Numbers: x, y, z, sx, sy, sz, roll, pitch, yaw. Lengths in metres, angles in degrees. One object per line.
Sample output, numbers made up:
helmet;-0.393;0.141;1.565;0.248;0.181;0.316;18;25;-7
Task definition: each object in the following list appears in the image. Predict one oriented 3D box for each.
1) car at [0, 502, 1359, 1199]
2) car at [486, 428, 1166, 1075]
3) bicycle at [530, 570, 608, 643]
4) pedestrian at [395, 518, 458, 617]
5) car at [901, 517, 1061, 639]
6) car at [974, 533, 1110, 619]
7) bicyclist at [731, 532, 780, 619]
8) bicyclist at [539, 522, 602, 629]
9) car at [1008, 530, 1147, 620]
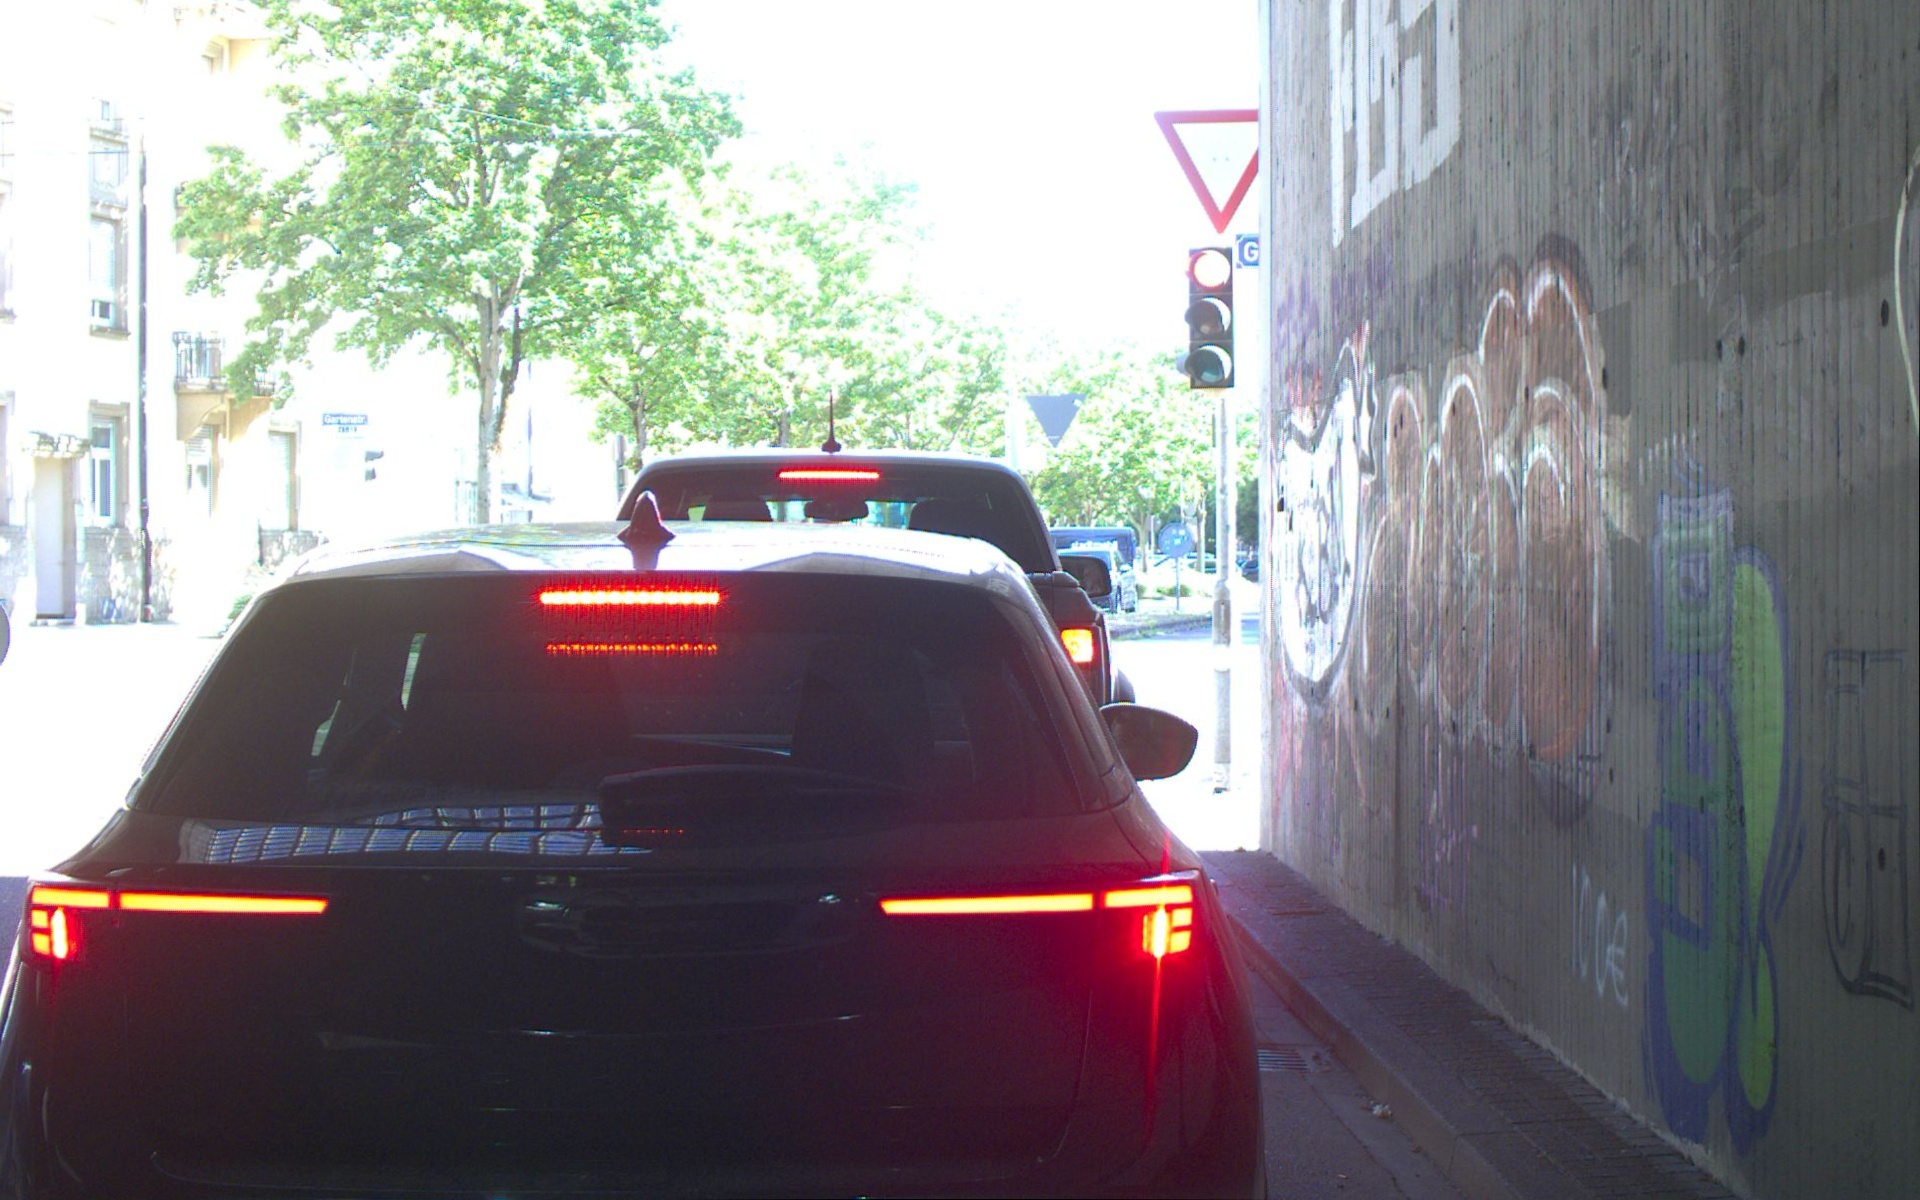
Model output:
car;-0.487;0.619;6.093;1.882;1.532;3.964;-1;1;-1
car;-0.407;0.400;11.914;1.945;1.853;3.964;-1;1;-1
bicycle;-5.851;0.090;51.538;0.732;1.064;1.688;1;1;9
pedestrian;-10.941;-0.670;70.531;0.992;2.007;1.088;0;1;8
car;0.303;-0.252;44.196;1.968;1.492;3.896;0;-1;1
car;1.512;-0.408;62.218;1.969;1.492;3.895;0;-1;9
bicyclist;-3.765;-0.457;63.242;0.729;1.576;0.814;1;0;9
bicyclist;-5.833;-0.366;51.564;0.729;1.576;0.814;1;0;9
car;2.397;-0.466;69.028;2.221;1.713;4.458;0;-1;10
